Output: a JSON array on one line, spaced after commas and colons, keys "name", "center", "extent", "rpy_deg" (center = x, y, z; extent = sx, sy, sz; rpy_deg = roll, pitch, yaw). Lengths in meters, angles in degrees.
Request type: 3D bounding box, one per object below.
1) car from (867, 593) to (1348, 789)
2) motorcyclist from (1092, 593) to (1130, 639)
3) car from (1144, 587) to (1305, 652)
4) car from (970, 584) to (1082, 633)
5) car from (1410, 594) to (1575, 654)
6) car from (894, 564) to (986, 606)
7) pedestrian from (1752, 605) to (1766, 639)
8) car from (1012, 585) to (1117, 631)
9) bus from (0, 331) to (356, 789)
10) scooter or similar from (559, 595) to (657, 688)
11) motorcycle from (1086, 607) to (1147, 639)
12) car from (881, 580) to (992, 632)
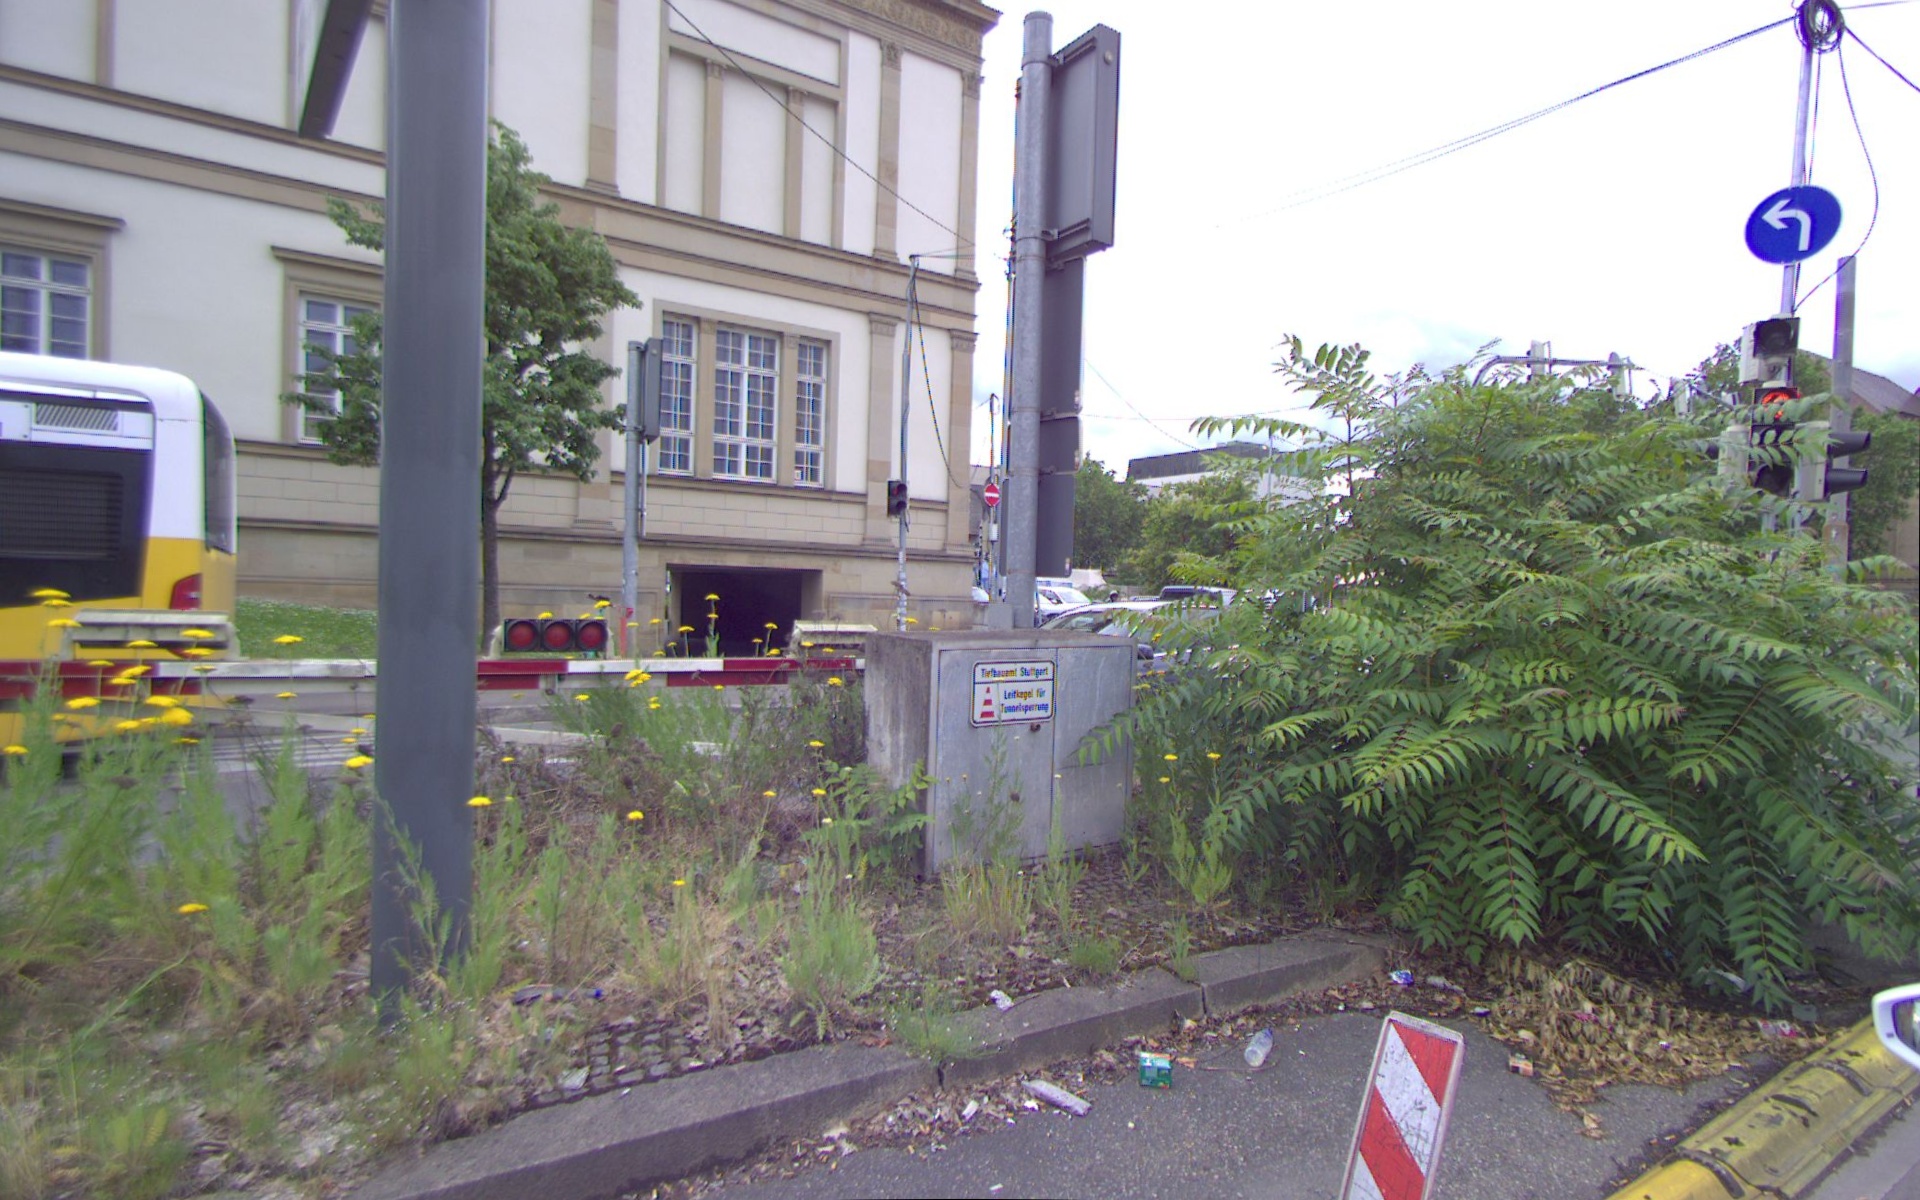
[{"name": "car", "center": [1.539, 0.752, 9.693], "extent": [4.579, 1.491, 1.691], "rpy_deg": [2, 0, -32]}, {"name": "motorcyclist", "center": [4.926, 0.515, 32.869], "extent": [0.738, 1.442, 0.959], "rpy_deg": [1, 1, -35]}, {"name": "car", "center": [7.594, 0.518, 29.212], "extent": [1.979, 1.698, 4.285], "rpy_deg": [1, 1, -34]}, {"name": "car", "center": [2.400, 0.285, 37.647], "extent": [1.979, 1.698, 4.285], "rpy_deg": [1, 1, -34]}, {"name": "car", "center": [17.132, 0.733, 32.453], "extent": [1.986, 1.698, 4.271], "rpy_deg": [1, 1, -43]}, {"name": "car", "center": [-0.939, -0.677, 43.687], "extent": [1.979, 1.698, 4.285], "rpy_deg": [1, 1, -34]}, {"name": "pedestrian", "center": [49.760, 1.368, 62.560], "extent": [0.516, 2.040, 0.428], "rpy_deg": [2, 1, 17]}, {"name": "car", "center": [4.216, 0.306, 41.047], "extent": [1.979, 1.698, 4.285], "rpy_deg": [1, 1, -34]}, {"name": "bus", "center": [-9.416, -0.343, 6.849], "extent": [9.020, 3.156, 2.830], "rpy_deg": [1, 1, -32]}, {"name": "scooter or similar", "center": [-4.939, 0.576, 14.137], "extent": [1.132, 1.190, 0.540], "rpy_deg": [6, 0, -10]}, {"name": "motorcycle", "center": [5.076, 0.735, 32.654], "extent": [0.749, 0.937, 2.042], "rpy_deg": [1, 1, -35]}, {"name": "car", "center": [-0.907, 0.171, 35.922], "extent": [1.979, 1.698, 4.285], "rpy_deg": [1, 1, -34]}]
